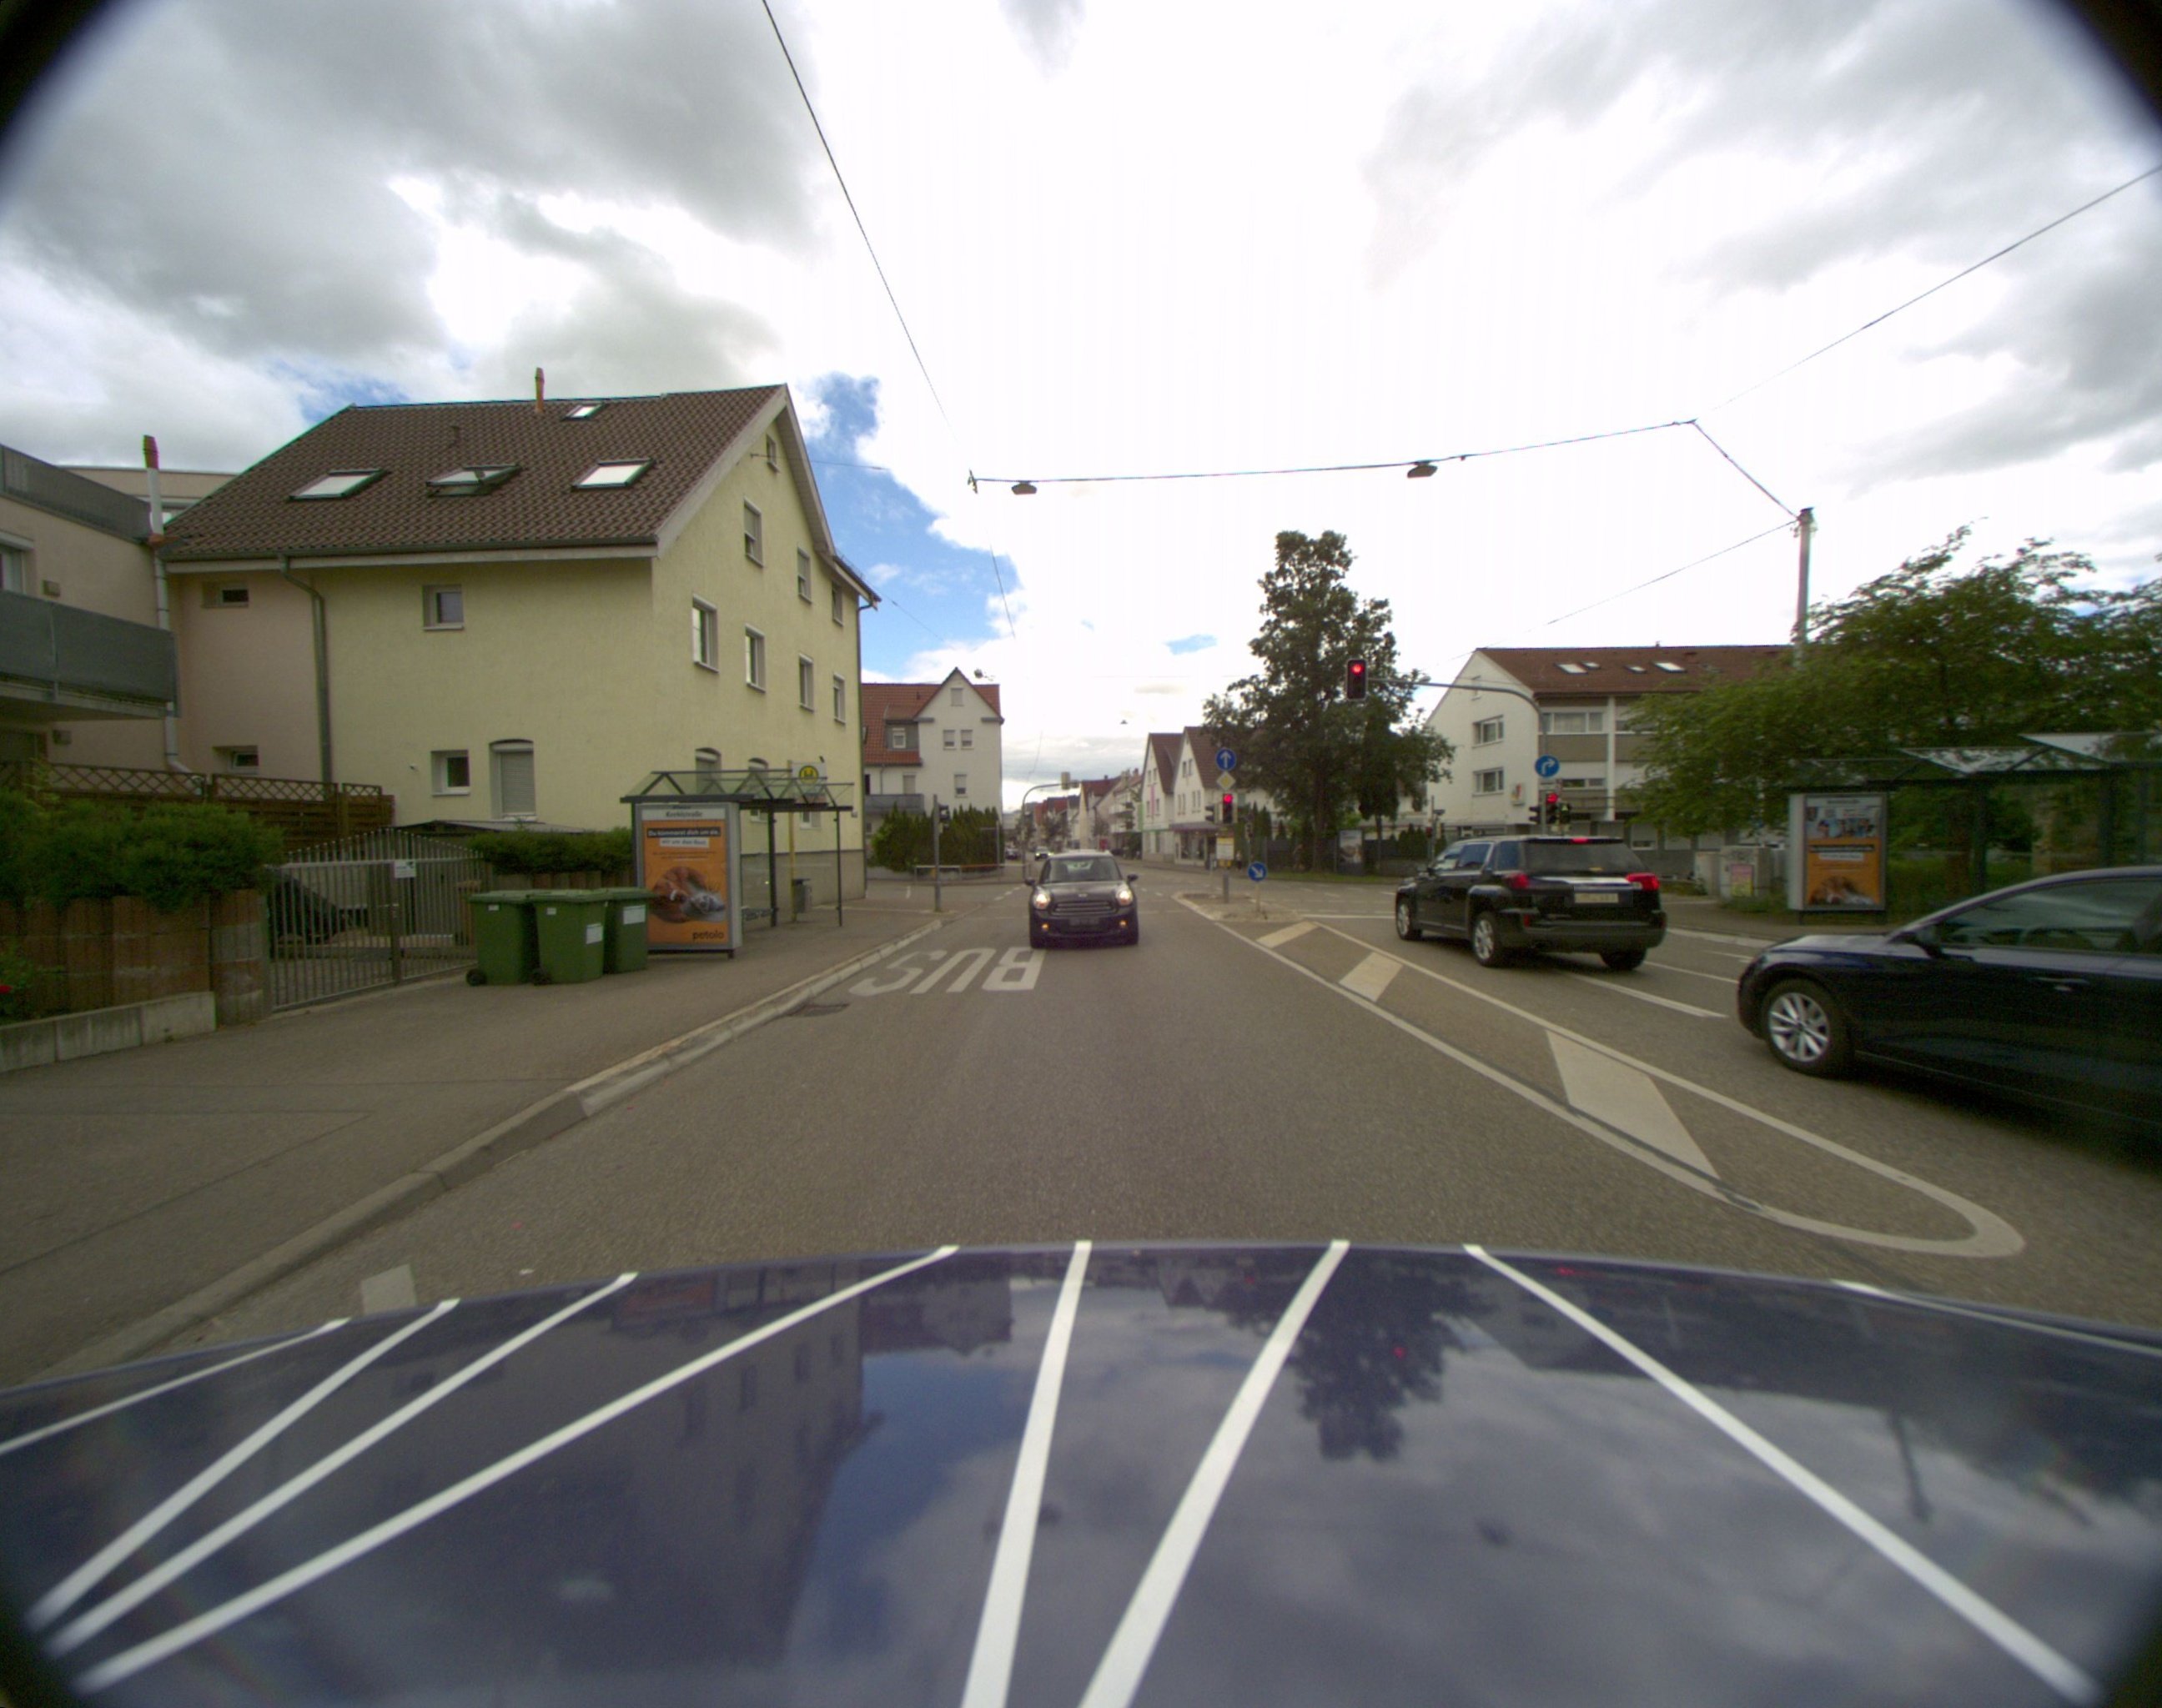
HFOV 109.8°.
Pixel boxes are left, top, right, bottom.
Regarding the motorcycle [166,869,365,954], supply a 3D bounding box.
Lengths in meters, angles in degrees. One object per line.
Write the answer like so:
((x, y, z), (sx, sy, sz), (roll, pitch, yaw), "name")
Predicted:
((-11.628, 0.800, 10.886), (1.956, 1.133, 0.696), (-1, 1, -5), "motorcycle")

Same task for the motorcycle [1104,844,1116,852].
((4.189, -0.911, 110.402), (1.679, 1.099, 0.558), (-3, 2, -7), "motorcycle")

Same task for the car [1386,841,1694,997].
((6.005, 0.681, 10.741), (1.762, 1.626, 4.595), (1, 2, 4), "car")

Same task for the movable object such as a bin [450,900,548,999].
((-6.664, 1.077, 8.727), (0.638, 1.040, 0.585), (-1, 2, -4), "movable object such as a bin")

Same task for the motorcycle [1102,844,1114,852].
((3.869, -0.849, 108.638), (1.516, 1.099, 0.589), (-3, 2, -1), "motorcycle")

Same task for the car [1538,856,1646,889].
((22.894, 0.800, 34.118), (3.642, 1.390, 1.771), (0, 1, 1), "car")

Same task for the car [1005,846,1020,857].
((-9.913, -0.388, 109.693), (1.847, 1.510, 3.996), (-3, 2, -8), "car")

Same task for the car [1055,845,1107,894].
((-0.084, 0.527, 29.968), (1.811, 1.556, 4.614), (-2, 3, -3), "car")

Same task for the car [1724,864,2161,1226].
((5.356, 0.848, 3.417), (1.567, 1.412, 4.130), (-1, 2, 3), "car")

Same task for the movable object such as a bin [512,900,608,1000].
((-5.981, 1.083, 8.752), (0.638, 1.041, 0.585), (-2, 2, -4), "movable object such as a bin")

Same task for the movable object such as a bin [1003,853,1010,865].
((-6.067, 0.396, 61.658), (0.566, 0.898, 0.519), (0, 2, -6), "movable object such as a bin")

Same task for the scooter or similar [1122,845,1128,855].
((5.231, -0.481, 90.313), (0.465, 1.117, 1.828), (-2, 1, 8), "scooter or similar")

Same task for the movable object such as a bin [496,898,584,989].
((-6.697, 1.091, 9.428), (0.638, 1.040, 0.585), (-1, 2, -4), "movable object such as a bin")

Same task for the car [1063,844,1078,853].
((-1.648, -0.818, 117.552), (1.635, 1.404, 3.996), (0, 1, -10), "car")

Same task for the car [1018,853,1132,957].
((0.027, 0.776, 13.542), (1.693, 1.507, 4.001), (-2, 0, 4), "car")

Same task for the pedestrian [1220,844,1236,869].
((9.466, 0.158, 48.937), (0.642, 1.596, 0.865), (-3, 2, -17), "pedestrian")

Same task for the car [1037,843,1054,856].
((-4.454, -0.617, 95.166), (1.847, 1.510, 3.996), (-3, 2, -6), "car")

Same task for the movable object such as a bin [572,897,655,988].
((-5.840, 1.082, 9.507), (0.636, 1.041, 0.592), (-1, 2, 28), "movable object such as a bin")

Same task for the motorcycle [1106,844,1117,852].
((4.384, -0.819, 107.892), (1.430, 1.017, 0.525), (-3, 2, -7), "motorcycle")

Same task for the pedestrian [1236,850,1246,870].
((10.270, 0.409, 48.884), (0.383, 1.255, 0.549), (-3, 2, -17), "pedestrian")

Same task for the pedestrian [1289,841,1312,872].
((12.747, 0.155, 44.092), (0.824, 1.744, 1.228), (-3, 2, -6), "pedestrian")
